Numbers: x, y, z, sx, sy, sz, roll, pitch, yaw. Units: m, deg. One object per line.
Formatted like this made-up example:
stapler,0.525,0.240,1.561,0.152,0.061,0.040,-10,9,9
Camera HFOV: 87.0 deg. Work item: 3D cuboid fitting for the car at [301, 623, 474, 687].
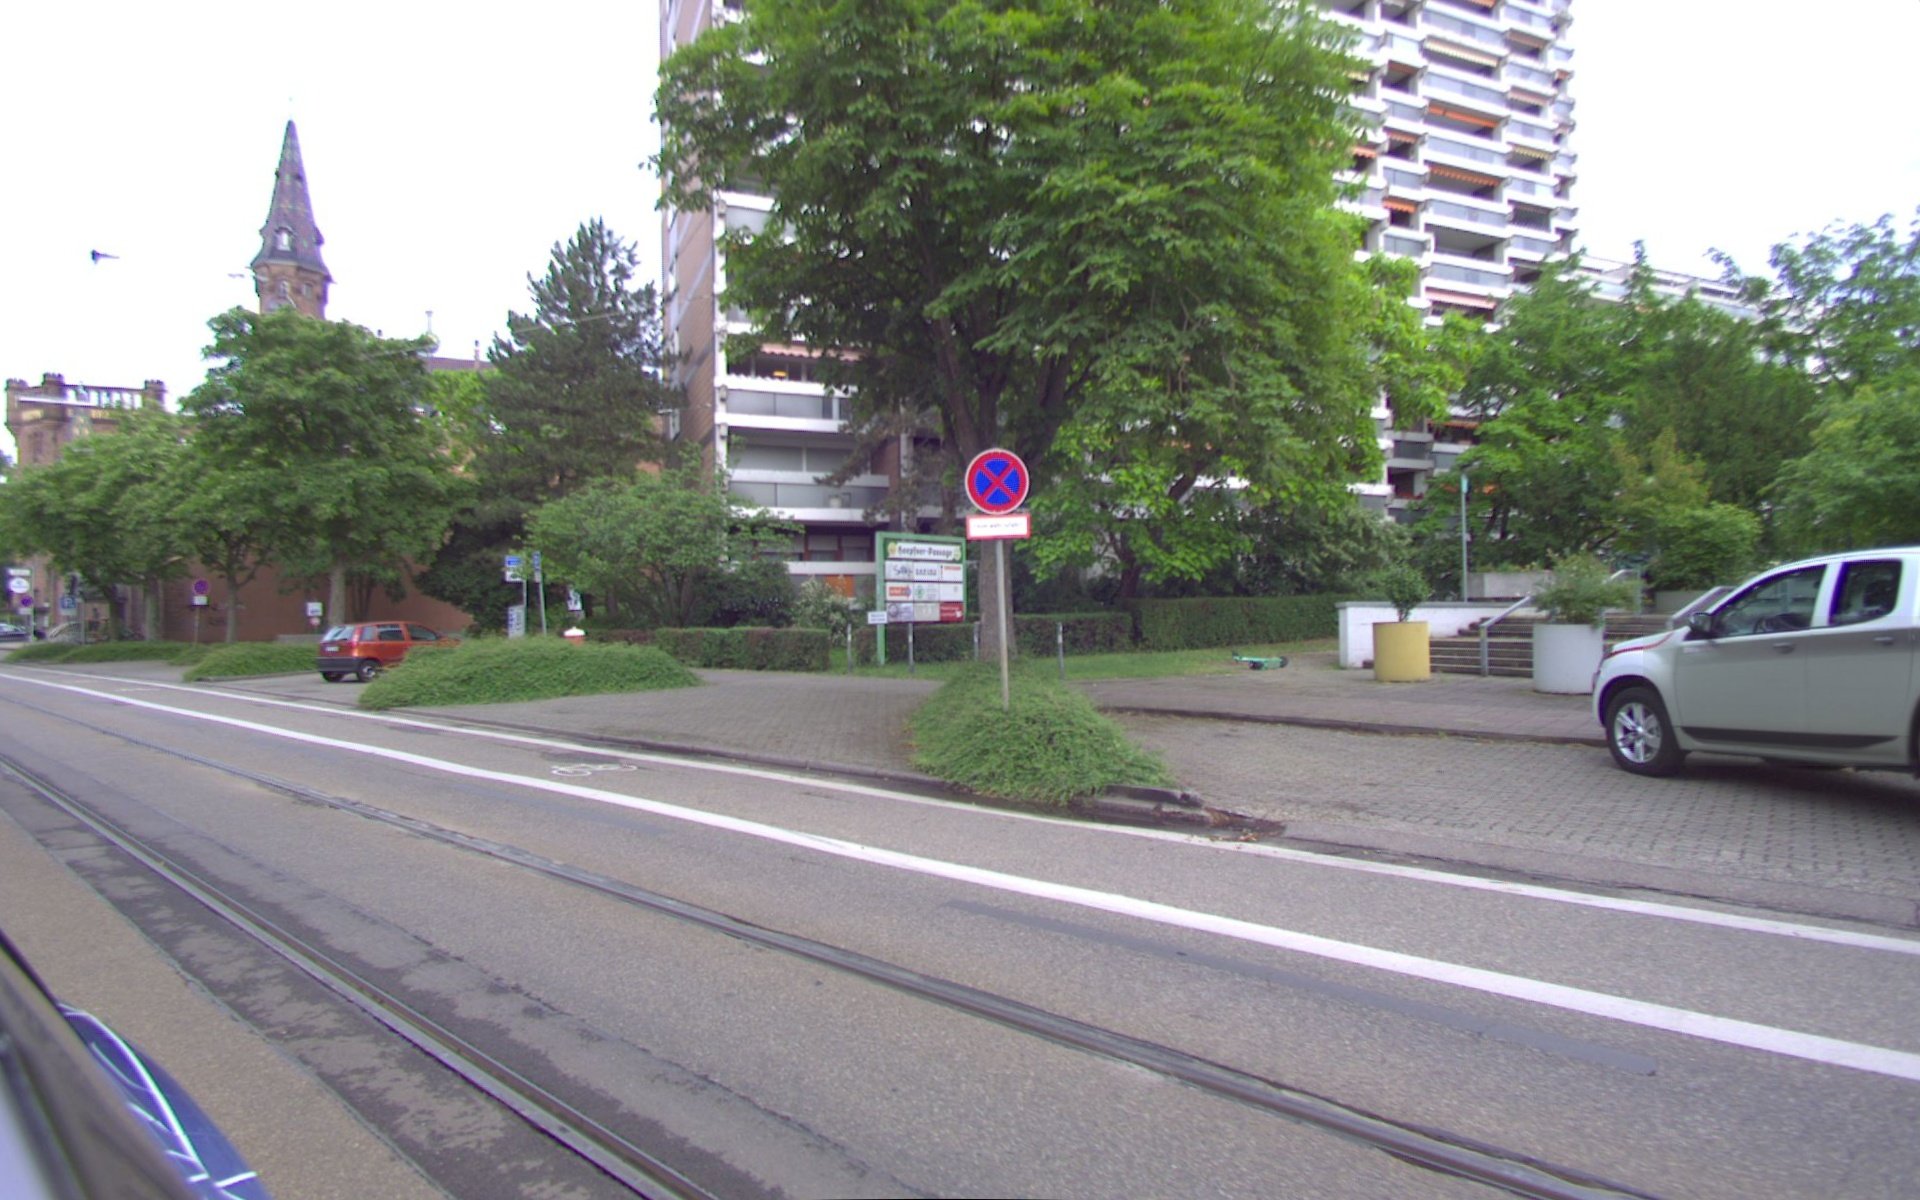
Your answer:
car,-14.258,1.311,25.372,1.626,1.387,3.472,-1,0,26

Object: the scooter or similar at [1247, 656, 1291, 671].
scooter or similar,6.288,1.286,20.595,1.203,0.173,0.297,-4,3,-43

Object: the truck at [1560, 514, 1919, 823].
truck,6.711,0.398,6.823,1.970,1.862,5.069,-1,-1,-4
